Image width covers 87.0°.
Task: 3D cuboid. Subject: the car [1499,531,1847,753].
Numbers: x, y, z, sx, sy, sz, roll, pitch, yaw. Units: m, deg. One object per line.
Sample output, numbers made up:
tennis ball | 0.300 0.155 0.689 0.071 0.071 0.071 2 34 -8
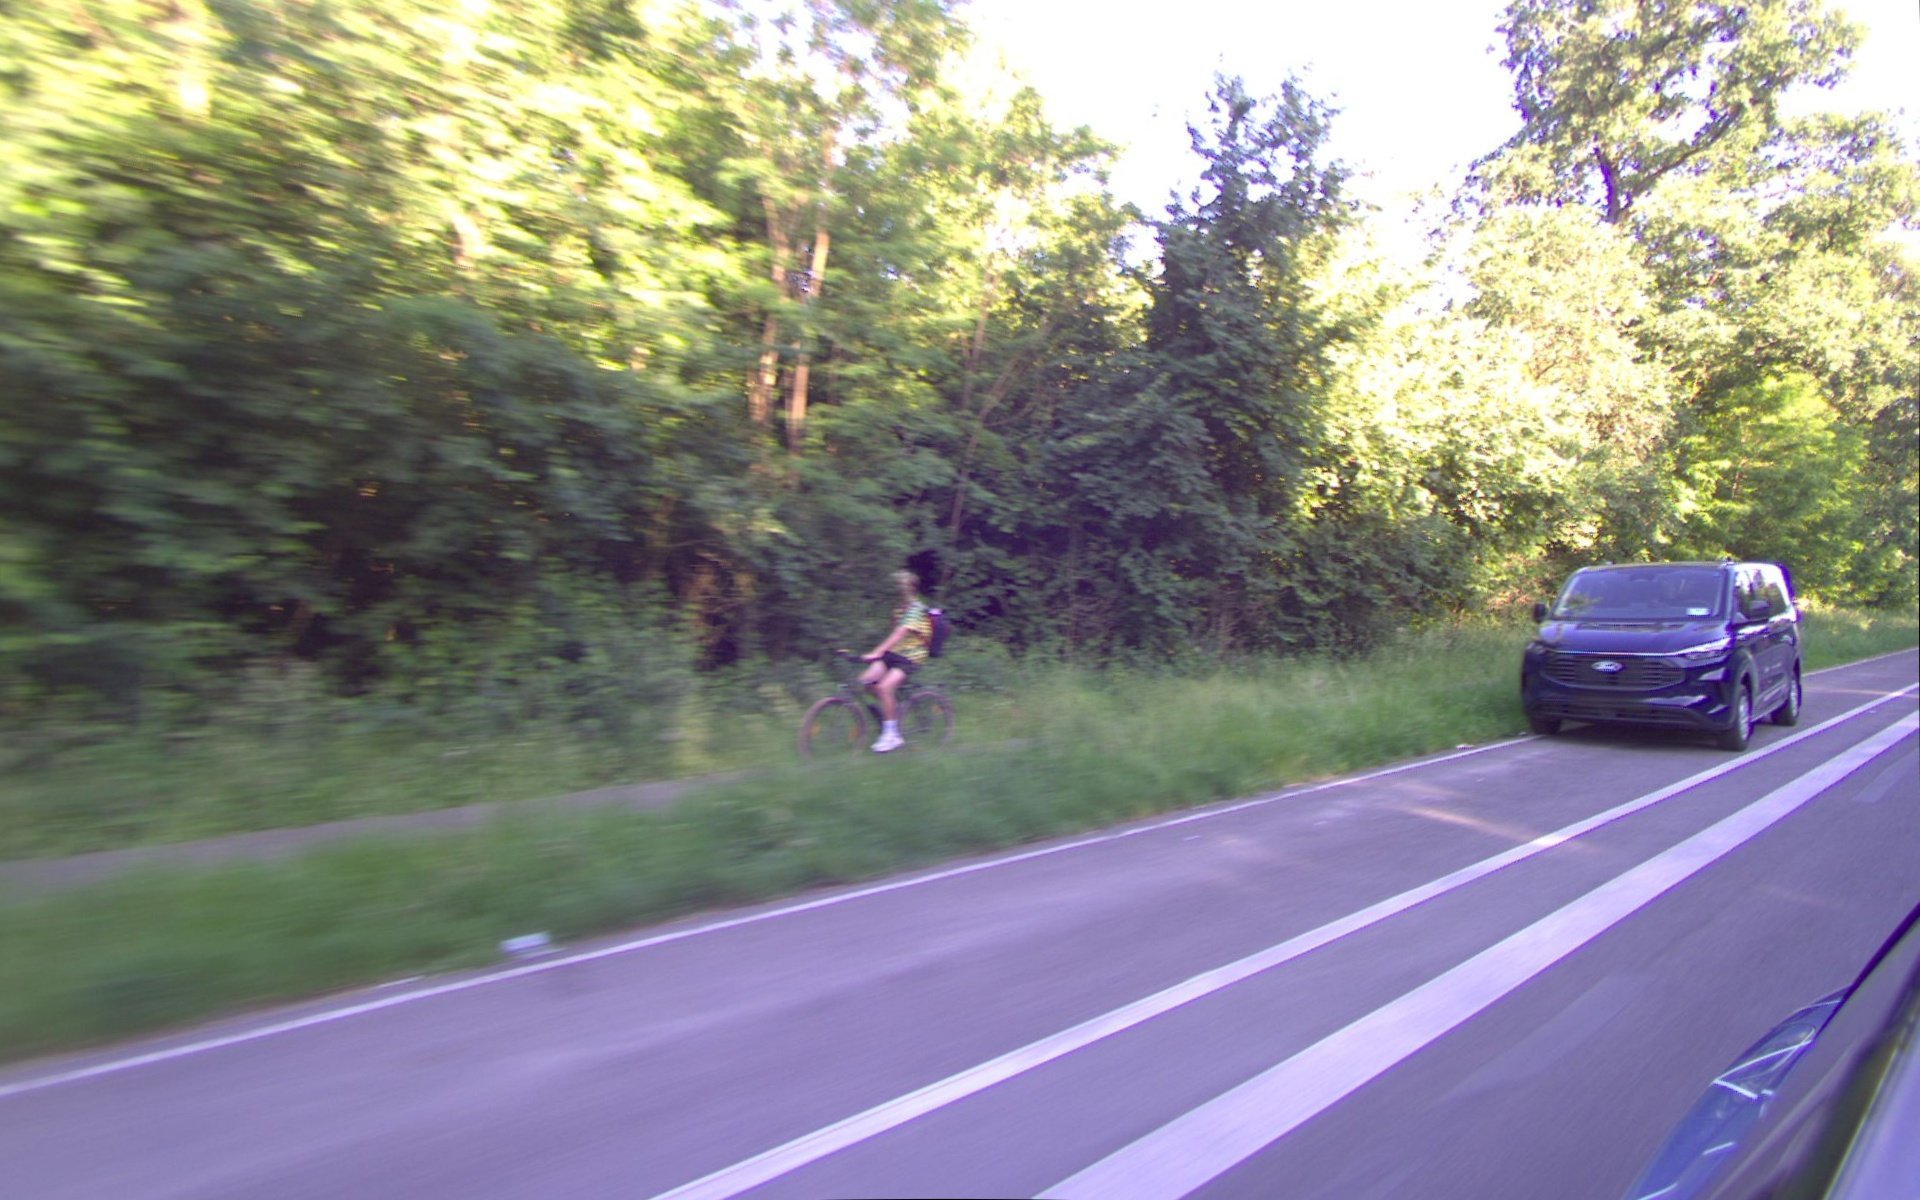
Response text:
car | 8.385 0.387 11.713 4.951 2.039 2.117 0 -1 -40

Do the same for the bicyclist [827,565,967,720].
bicyclist | -0.570 0.358 9.348 1.155 1.341 0.611 0 0 -41

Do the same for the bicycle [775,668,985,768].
bicycle | -0.694 1.046 9.325 1.961 0.701 0.592 0 1 -41
